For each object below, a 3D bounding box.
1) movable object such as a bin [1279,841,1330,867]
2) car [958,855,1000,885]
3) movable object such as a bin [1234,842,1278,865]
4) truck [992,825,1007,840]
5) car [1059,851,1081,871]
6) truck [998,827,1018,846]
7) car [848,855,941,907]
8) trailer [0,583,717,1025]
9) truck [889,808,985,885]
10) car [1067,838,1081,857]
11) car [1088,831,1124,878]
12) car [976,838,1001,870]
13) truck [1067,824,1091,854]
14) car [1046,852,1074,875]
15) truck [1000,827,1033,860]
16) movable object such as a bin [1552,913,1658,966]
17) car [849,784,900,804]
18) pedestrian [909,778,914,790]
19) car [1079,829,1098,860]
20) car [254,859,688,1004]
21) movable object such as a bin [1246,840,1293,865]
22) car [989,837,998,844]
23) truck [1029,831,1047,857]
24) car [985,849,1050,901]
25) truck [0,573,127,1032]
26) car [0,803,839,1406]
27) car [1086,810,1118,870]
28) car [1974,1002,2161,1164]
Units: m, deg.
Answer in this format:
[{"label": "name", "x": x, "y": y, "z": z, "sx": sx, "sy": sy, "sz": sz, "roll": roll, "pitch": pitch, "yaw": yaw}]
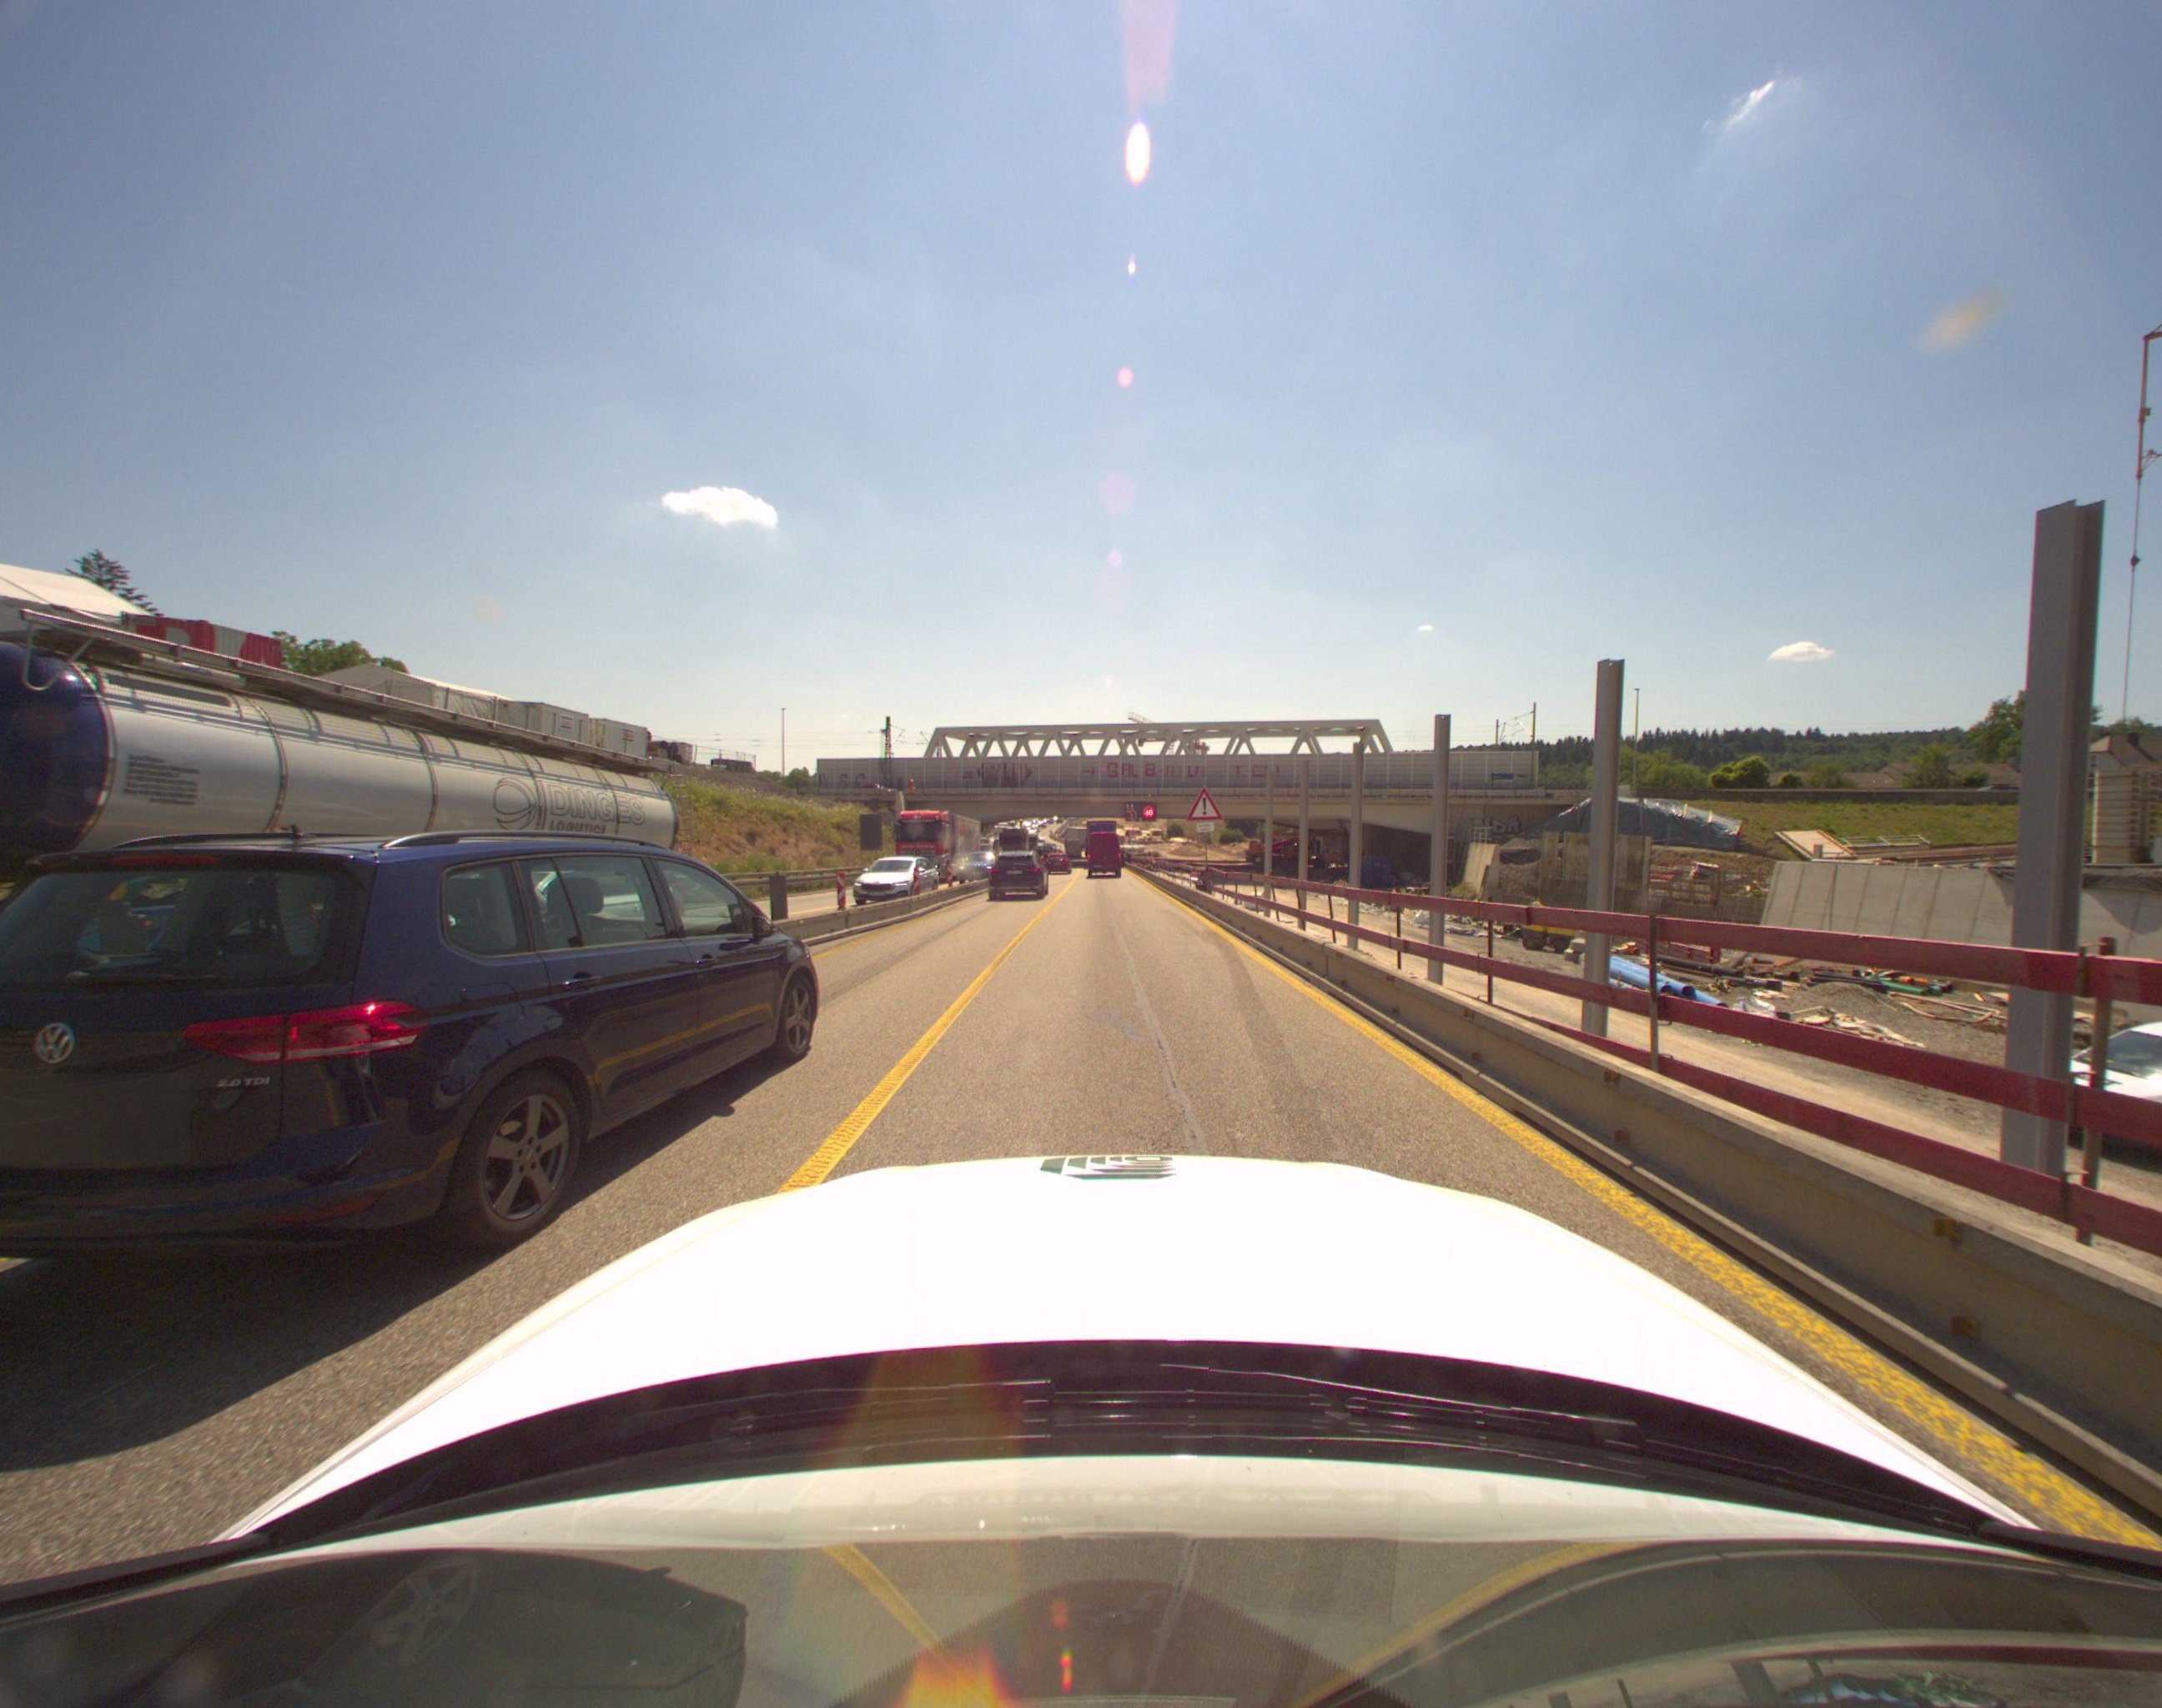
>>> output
[{"label": "movable object such as a bin", "x": 24.146, "y": 0.020, "z": 88.132, "sx": 5.121, "sy": 2.807, "sz": 2.146, "roll": 0, "pitch": 0, "yaw": 5}, {"label": "car", "x": -5.179, "y": 0.803, "z": 41.829, "sx": 1.574, "sy": 1.446, "sz": 3.665, "roll": 0, "pitch": 0, "yaw": 1}, {"label": "movable object such as a bin", "x": 21.367, "y": -0.066, "z": 99.693, "sx": 5.121, "sy": 2.807, "sz": 2.146, "roll": 0, "pitch": 0, "yaw": 5}, {"label": "truck", "x": -21.920, "y": -5.740, "z": 218.708, "sx": 2.836, "sy": 3.852, "sz": 12.363, "roll": 0, "pitch": 0, "yaw": -12}, {"label": "car", "x": -0.949, "y": 0.597, "z": 71.980, "sx": 1.834, "sy": 1.654, "sz": 4.164, "roll": -1, "pitch": 1, "yaw": -1}, {"label": "truck", "x": -15.251, "y": -3.550, "z": 169.812, "sx": 2.836, "sy": 3.852, "sz": 12.862, "roll": 0, "pitch": 0, "yaw": -11}, {"label": "car", "x": -5.776, "y": 0.791, "z": 25.755, "sx": 1.826, "sy": 1.446, "sz": 4.158, "roll": 0, "pitch": 0, "yaw": 2}, {"label": "trailer", "x": -10.090, "y": -0.499, "z": 13.188, "sx": 2.336, "sy": 4.015, "sz": 11.466, "roll": 0, "pitch": 0, "yaw": 5}, {"label": "truck", "x": -7.982, "y": -0.432, "z": 47.274, "sx": 2.824, "sy": 3.852, "sz": 12.919, "roll": 0, "pitch": 0, "yaw": 2}, {"label": "car", "x": -0.943, "y": -0.884, "z": 106.565, "sx": 1.770, "sy": 2.441, "sz": 4.206, "roll": -1, "pitch": 0, "yaw": 0}, {"label": "car", "x": 1.447, "y": 0.009, "z": 48.948, "sx": 1.982, "sy": 2.690, "sz": 4.623, "roll": -1, "pitch": 0, "yaw": 0}, {"label": "car", "x": -7.984, "y": -0.037, "z": 70.792, "sx": 1.575, "sy": 2.654, "sz": 5.390, "roll": 0, "pitch": 0, "yaw": 0}, {"label": "truck", "x": -0.477, "y": -2.745, "z": 152.633, "sx": 2.832, "sy": 5.398, "sz": 12.880, "roll": 0, "pitch": 0, "yaw": -7}, {"label": "car", "x": -1.449, "y": 0.649, "z": 56.968, "sx": 1.770, "sy": 1.517, "sz": 4.207, "roll": -1, "pitch": 1, "yaw": 1}, {"label": "truck", "x": -7.821, "y": -1.293, "z": 100.365, "sx": 2.825, "sy": 3.852, "sz": 12.912, "roll": 0, "pitch": 0, "yaw": 0}, {"label": "movable object such as a bin", "x": 18.533, "y": 2.981, "z": 28.852, "sx": 3.067, "sy": 1.563, "sz": 1.563, "roll": 0, "pitch": 0, "yaw": 36}, {"label": "car", "x": -20.754, "y": -6.025, "z": 81.914, "sx": 4.521, "sy": 1.783, "sz": 1.968, "roll": 0, "pitch": 0, "yaw": 13}, {"label": "pedestrian", "x": -16.610, "y": -6.855, "z": 79.831, "sx": 0.334, "sy": 1.211, "sz": 0.309, "roll": 0, "pitch": 0, "yaw": 14}, {"label": "car", "x": 0.999, "y": -1.263, "z": 113.219, "sx": 2.442, "sy": 4.160, "sz": 6.859, "roll": -1, "pitch": 0, "yaw": 0}, {"label": "car", "x": -7.290, "y": 0.794, "z": 10.515, "sx": 1.808, "sy": 1.383, "sz": 4.591, "roll": 0, "pitch": 0, "yaw": 6}, {"label": "movable object such as a bin", "x": 21.952, "y": -0.156, "z": 95.193, "sx": 5.121, "sy": 2.807, "sz": 2.146, "roll": 0, "pitch": 0, "yaw": 5}, {"label": "car", "x": -21.456, "y": -3.319, "z": 198.761, "sx": 1.749, "sy": 1.750, "sz": 3.983, "roll": 0, "pitch": 0, "yaw": -13}, {"label": "truck", "x": -6.949, "y": -1.558, "z": 130.573, "sx": 2.829, "sy": 3.852, "sz": 12.895, "roll": 0, "pitch": 0, "yaw": -4}, {"label": "car", "x": -2.137, "y": 0.656, "z": 28.383, "sx": 1.874, "sy": 1.618, "sz": 4.498, "roll": -1, "pitch": 1, "yaw": 0}, {"label": "truck", "x": -10.728, "y": -0.434, "z": 6.086, "sx": 2.346, "sy": 4.015, "sz": 4.006, "roll": 0, "pitch": 0, "yaw": 5}, {"label": "car", "x": -2.998, "y": 0.659, "z": 4.638, "sx": 1.770, "sy": 1.718, "sz": 4.653, "roll": 0, "pitch": 1, "yaw": 1}, {"label": "car", "x": 1.800, "y": -1.237, "z": 74.925, "sx": 2.612, "sy": 5.032, "sz": 10.396, "roll": -1, "pitch": 0, "yaw": 0}, {"label": "car", "x": 16.726, "y": 3.349, "z": 12.049, "sx": 4.710, "sy": 1.773, "sz": 2.001, "roll": 1, "pitch": 2, "yaw": 1}]
